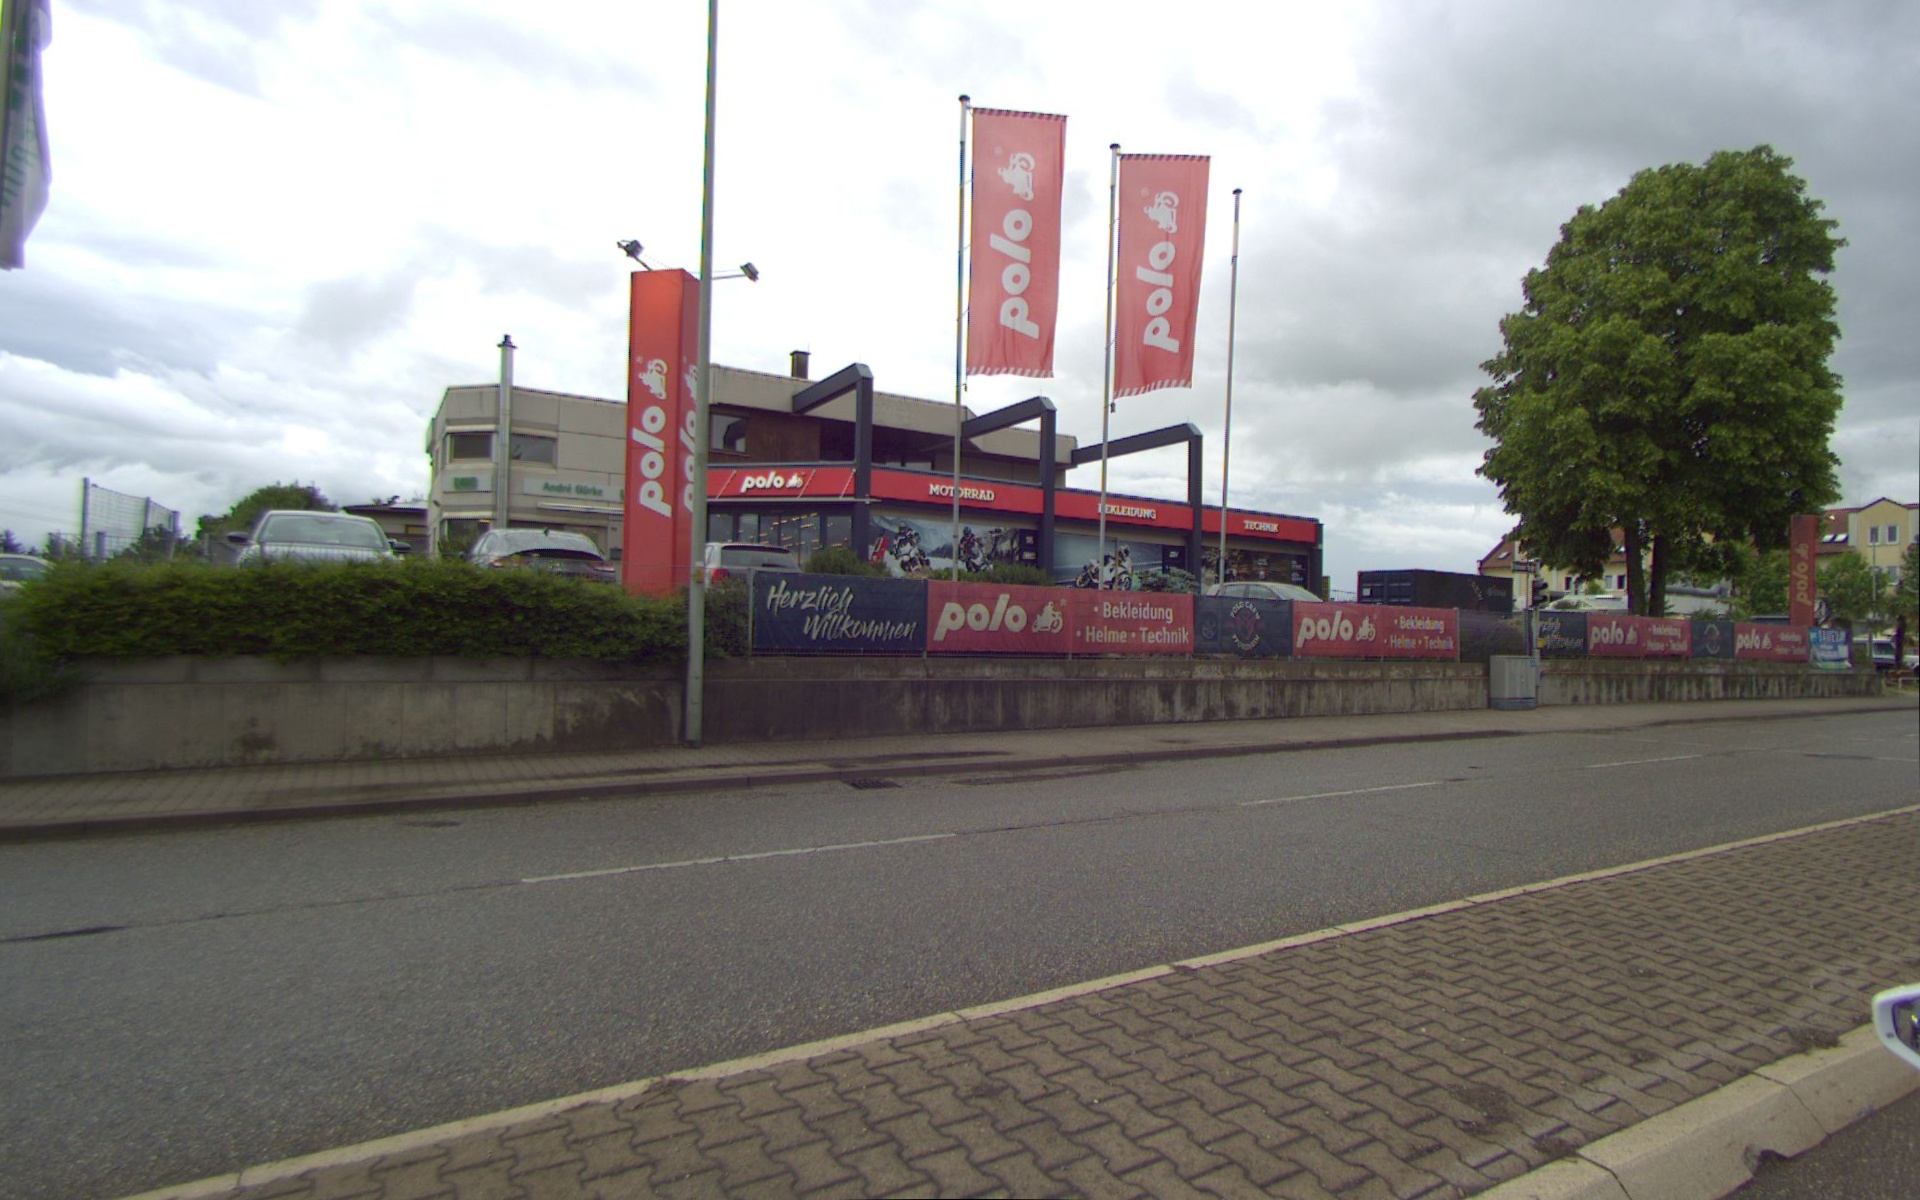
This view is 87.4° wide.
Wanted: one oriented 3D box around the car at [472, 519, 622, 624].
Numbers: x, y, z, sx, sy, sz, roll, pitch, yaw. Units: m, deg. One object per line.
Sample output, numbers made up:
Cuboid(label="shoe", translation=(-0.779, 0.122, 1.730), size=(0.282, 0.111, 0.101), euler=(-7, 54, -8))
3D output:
Cuboid(label="car", translation=(-5.970, -0.315, 14.339), size=(1.438, 1.294, 3.368), euler=(1, -2, -32))

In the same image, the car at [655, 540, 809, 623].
Cuboid(label="car", translation=(-3.811, -0.231, 16.436), size=(1.438, 1.183, 3.368), euler=(1, -2, -32))

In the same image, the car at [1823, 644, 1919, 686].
Cuboid(label="car", translation=(41.312, 2.859, 44.071), size=(4.927, 1.724, 1.996), euler=(-1, -6, 33))

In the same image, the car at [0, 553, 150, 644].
Cuboid(label="car", translation=(-17.436, -0.008, 18.752), size=(3.346, 1.617, 1.520), euler=(1, -2, -30))

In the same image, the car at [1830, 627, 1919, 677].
Cuboid(label="car", translation=(39.480, 2.176, 42.026), size=(4.324, 2.040, 1.996), euler=(-2, -3, 32))

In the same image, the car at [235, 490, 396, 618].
Cuboid(label="car", translation=(-8.000, -0.466, 12.702), size=(1.436, 1.355, 3.372), euler=(1, -2, -29))

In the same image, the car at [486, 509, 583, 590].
Cuboid(label="car", translation=(-9.274, -1.020, 21.790), size=(1.438, 1.492, 3.368), euler=(1, -2, -32))

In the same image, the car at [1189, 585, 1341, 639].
Cuboid(label="car", translation=(7.143, 0.298, 23.795), size=(1.438, 1.183, 3.368), euler=(1, -2, -32))
